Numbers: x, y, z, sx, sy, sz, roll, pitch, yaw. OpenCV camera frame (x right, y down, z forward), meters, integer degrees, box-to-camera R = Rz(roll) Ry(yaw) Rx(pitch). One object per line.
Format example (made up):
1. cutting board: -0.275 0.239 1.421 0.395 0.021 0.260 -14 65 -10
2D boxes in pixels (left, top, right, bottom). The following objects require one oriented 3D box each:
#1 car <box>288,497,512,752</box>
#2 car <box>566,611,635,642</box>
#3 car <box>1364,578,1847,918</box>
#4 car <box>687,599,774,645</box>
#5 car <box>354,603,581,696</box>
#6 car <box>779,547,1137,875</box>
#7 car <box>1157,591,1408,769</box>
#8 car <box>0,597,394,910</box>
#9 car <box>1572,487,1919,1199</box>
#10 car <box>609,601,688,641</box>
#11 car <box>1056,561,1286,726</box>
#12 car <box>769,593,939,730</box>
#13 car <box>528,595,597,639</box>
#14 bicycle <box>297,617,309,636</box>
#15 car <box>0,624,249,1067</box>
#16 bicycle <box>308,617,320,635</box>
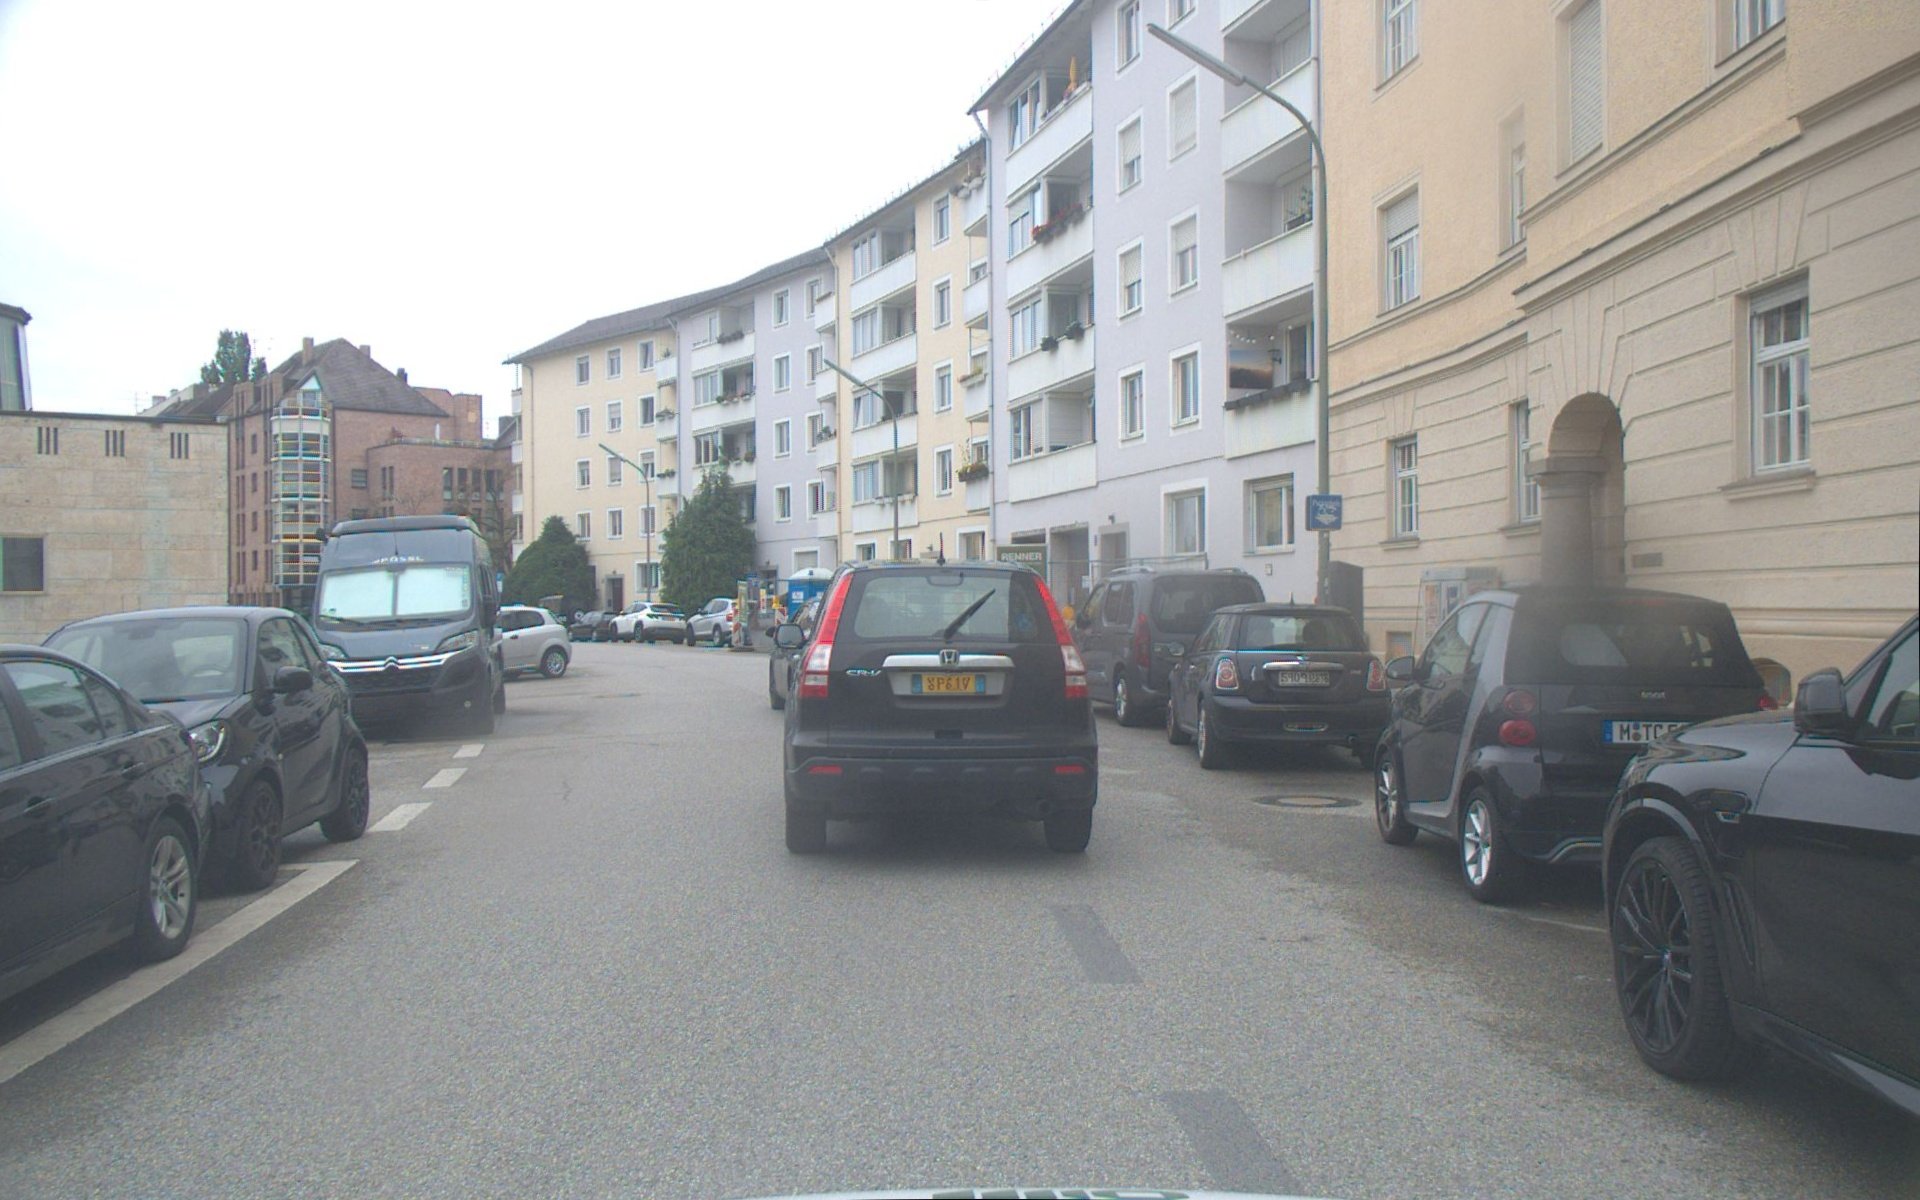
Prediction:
1. car: -6.834 0.239 20.831 2.128 2.688 5.994 -2 1 -14
2. car: -15.234 1.106 69.933 1.683 1.258 3.559 0 0 -34
3. car: 3.368 0.686 9.214 1.503 1.550 3.111 1 0 1
4. car: -7.953 0.739 57.087 1.705 1.509 3.963 0 0 -28
5. car: -9.757 0.955 33.034 1.652 1.507 4.068 -5 -1 38
6. car: -0.154 0.574 10.567 1.854 1.676 3.987 0 0 -4
7. car: 2.934 0.675 15.793 1.673 1.472 3.830 1 0 1
8. car: -4.597 0.783 9.865 1.638 1.528 2.973 -2 0 -6
9. car: 3.172 0.619 3.626 1.831 1.747 4.865 1 0 0
10. car: -12.437 0.815 65.908 1.709 1.509 3.952 0 0 -34
11. car: 2.503 0.495 20.696 1.745 1.838 4.267 1 0 -9
12. car: -1.416 0.689 20.592 1.649 1.507 4.076 0 0 -11
13. car: -17.727 0.735 73.704 1.709 1.911 3.952 0 0 -34
14. bicycle: -47.185 1.916 118.833 0.545 1.311 1.742 0 0 -30
15. car: -4.118 0.868 5.726 1.765 1.430 4.449 -2 0 -6
16. bicycle: -46.632 1.861 119.336 0.545 1.311 1.742 0 0 -30
